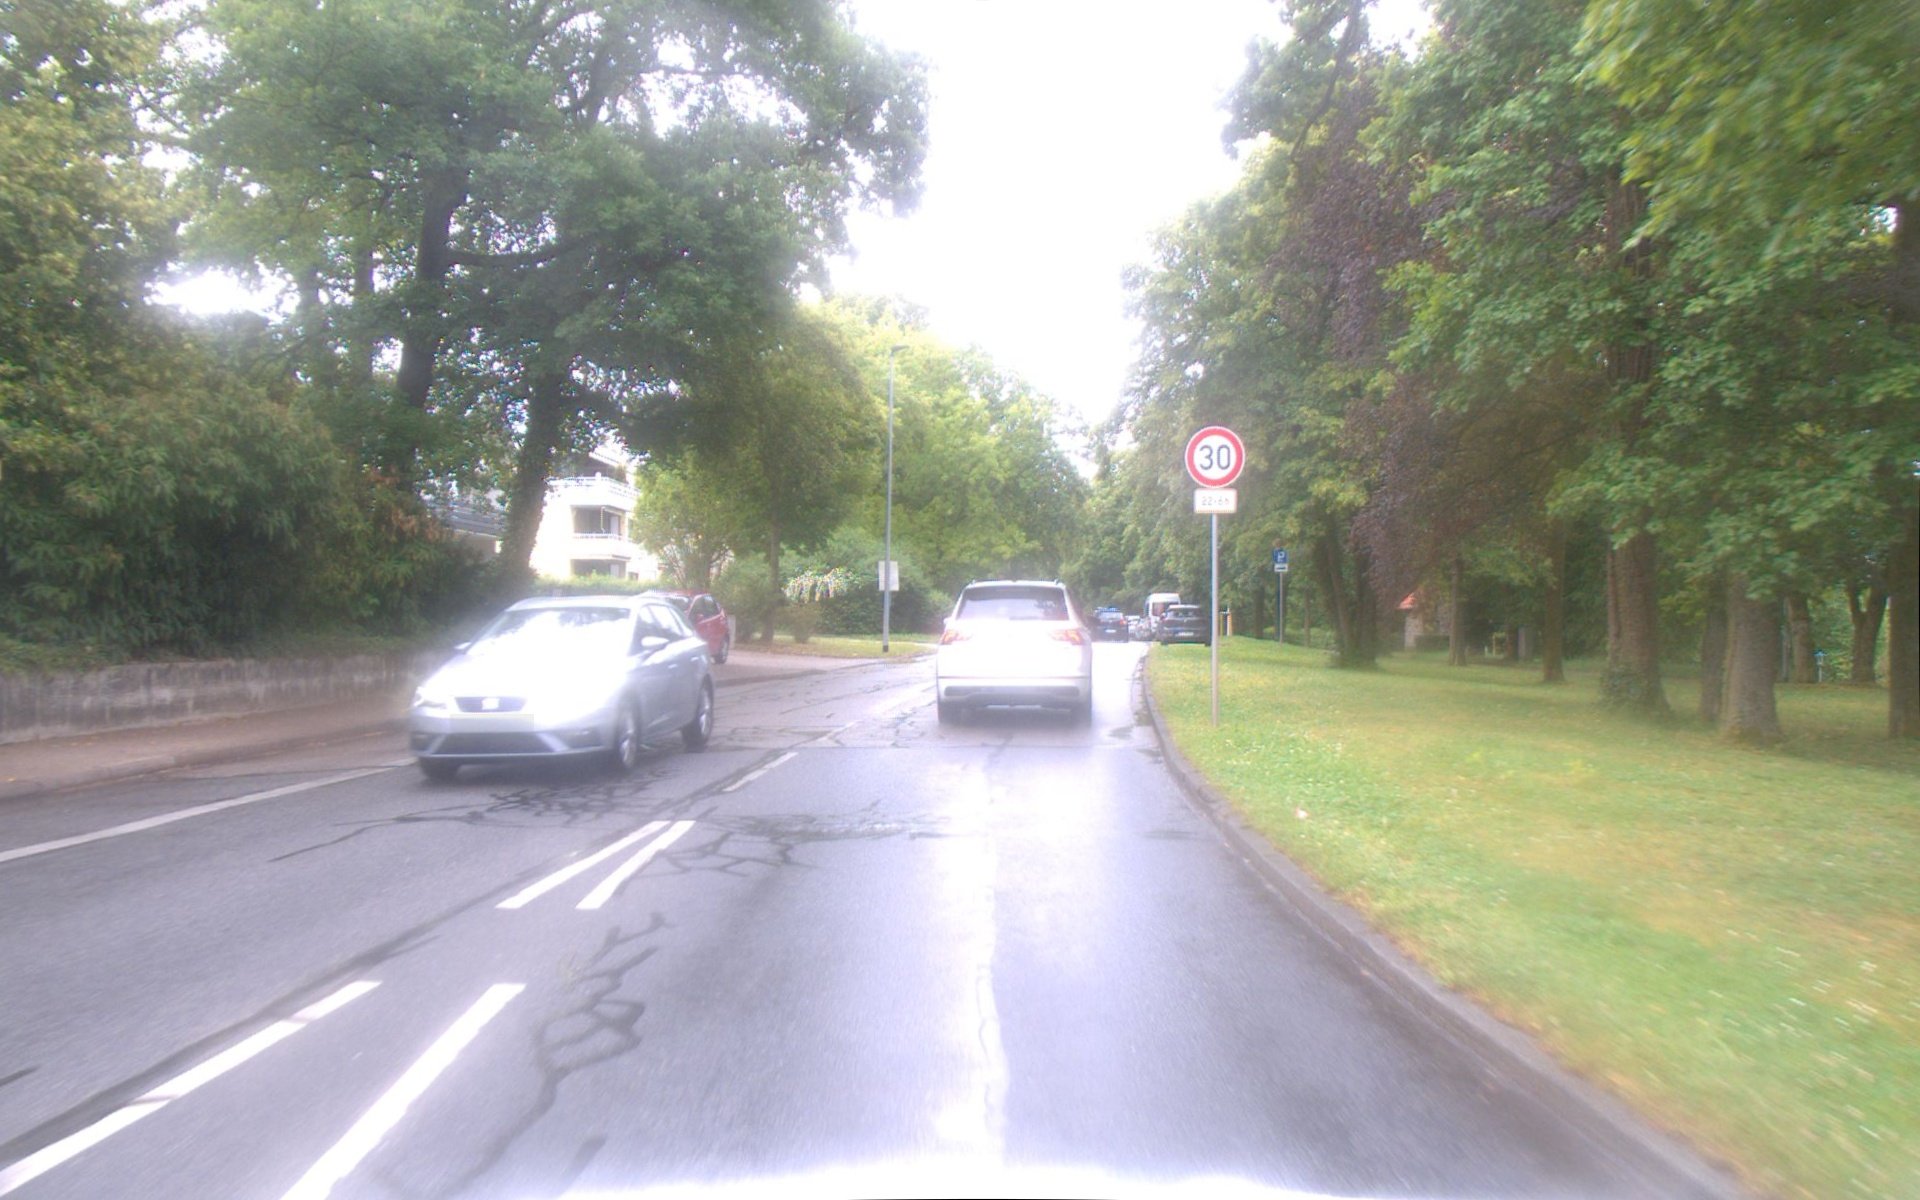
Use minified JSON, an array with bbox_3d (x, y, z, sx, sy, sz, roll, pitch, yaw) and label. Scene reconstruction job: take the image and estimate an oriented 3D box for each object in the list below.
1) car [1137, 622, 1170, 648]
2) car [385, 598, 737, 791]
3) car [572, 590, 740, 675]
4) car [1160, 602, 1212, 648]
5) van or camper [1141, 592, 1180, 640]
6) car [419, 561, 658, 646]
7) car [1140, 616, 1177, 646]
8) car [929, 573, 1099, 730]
[{"bbox_3d":[11.939,2.153,102.387,1.767,1.566,4.269,-1,-1,4],"label":"car"},{"bbox_3d":[-3.389,0.735,14.975,1.752,1.447,4.362,-2,0,5],"label":"car"},{"bbox_3d":[-6.106,0.605,33.716,1.951,1.542,4.004,3,1,12],"label":"car"},{"bbox_3d":[7.757,0.876,56.883,1.664,1.487,4.220,-1,-1,7],"label":"car"},{"bbox_3d":[11.672,0.929,95.818,1.973,2.628,8.441,2,-1,8],"label":"van or camper"},{"bbox_3d":[-11.648,0.100,46.194,5.624,2.073,3.480,2,0,2],"label":"car"},{"bbox_3d":[10.474,1.634,87.129,1.825,1.538,3.727,0,-1,8],"label":"car"},{"bbox_3d":[0.764,0.572,20.268,1.865,1.715,4.203,0,0,5],"label":"car"}]
